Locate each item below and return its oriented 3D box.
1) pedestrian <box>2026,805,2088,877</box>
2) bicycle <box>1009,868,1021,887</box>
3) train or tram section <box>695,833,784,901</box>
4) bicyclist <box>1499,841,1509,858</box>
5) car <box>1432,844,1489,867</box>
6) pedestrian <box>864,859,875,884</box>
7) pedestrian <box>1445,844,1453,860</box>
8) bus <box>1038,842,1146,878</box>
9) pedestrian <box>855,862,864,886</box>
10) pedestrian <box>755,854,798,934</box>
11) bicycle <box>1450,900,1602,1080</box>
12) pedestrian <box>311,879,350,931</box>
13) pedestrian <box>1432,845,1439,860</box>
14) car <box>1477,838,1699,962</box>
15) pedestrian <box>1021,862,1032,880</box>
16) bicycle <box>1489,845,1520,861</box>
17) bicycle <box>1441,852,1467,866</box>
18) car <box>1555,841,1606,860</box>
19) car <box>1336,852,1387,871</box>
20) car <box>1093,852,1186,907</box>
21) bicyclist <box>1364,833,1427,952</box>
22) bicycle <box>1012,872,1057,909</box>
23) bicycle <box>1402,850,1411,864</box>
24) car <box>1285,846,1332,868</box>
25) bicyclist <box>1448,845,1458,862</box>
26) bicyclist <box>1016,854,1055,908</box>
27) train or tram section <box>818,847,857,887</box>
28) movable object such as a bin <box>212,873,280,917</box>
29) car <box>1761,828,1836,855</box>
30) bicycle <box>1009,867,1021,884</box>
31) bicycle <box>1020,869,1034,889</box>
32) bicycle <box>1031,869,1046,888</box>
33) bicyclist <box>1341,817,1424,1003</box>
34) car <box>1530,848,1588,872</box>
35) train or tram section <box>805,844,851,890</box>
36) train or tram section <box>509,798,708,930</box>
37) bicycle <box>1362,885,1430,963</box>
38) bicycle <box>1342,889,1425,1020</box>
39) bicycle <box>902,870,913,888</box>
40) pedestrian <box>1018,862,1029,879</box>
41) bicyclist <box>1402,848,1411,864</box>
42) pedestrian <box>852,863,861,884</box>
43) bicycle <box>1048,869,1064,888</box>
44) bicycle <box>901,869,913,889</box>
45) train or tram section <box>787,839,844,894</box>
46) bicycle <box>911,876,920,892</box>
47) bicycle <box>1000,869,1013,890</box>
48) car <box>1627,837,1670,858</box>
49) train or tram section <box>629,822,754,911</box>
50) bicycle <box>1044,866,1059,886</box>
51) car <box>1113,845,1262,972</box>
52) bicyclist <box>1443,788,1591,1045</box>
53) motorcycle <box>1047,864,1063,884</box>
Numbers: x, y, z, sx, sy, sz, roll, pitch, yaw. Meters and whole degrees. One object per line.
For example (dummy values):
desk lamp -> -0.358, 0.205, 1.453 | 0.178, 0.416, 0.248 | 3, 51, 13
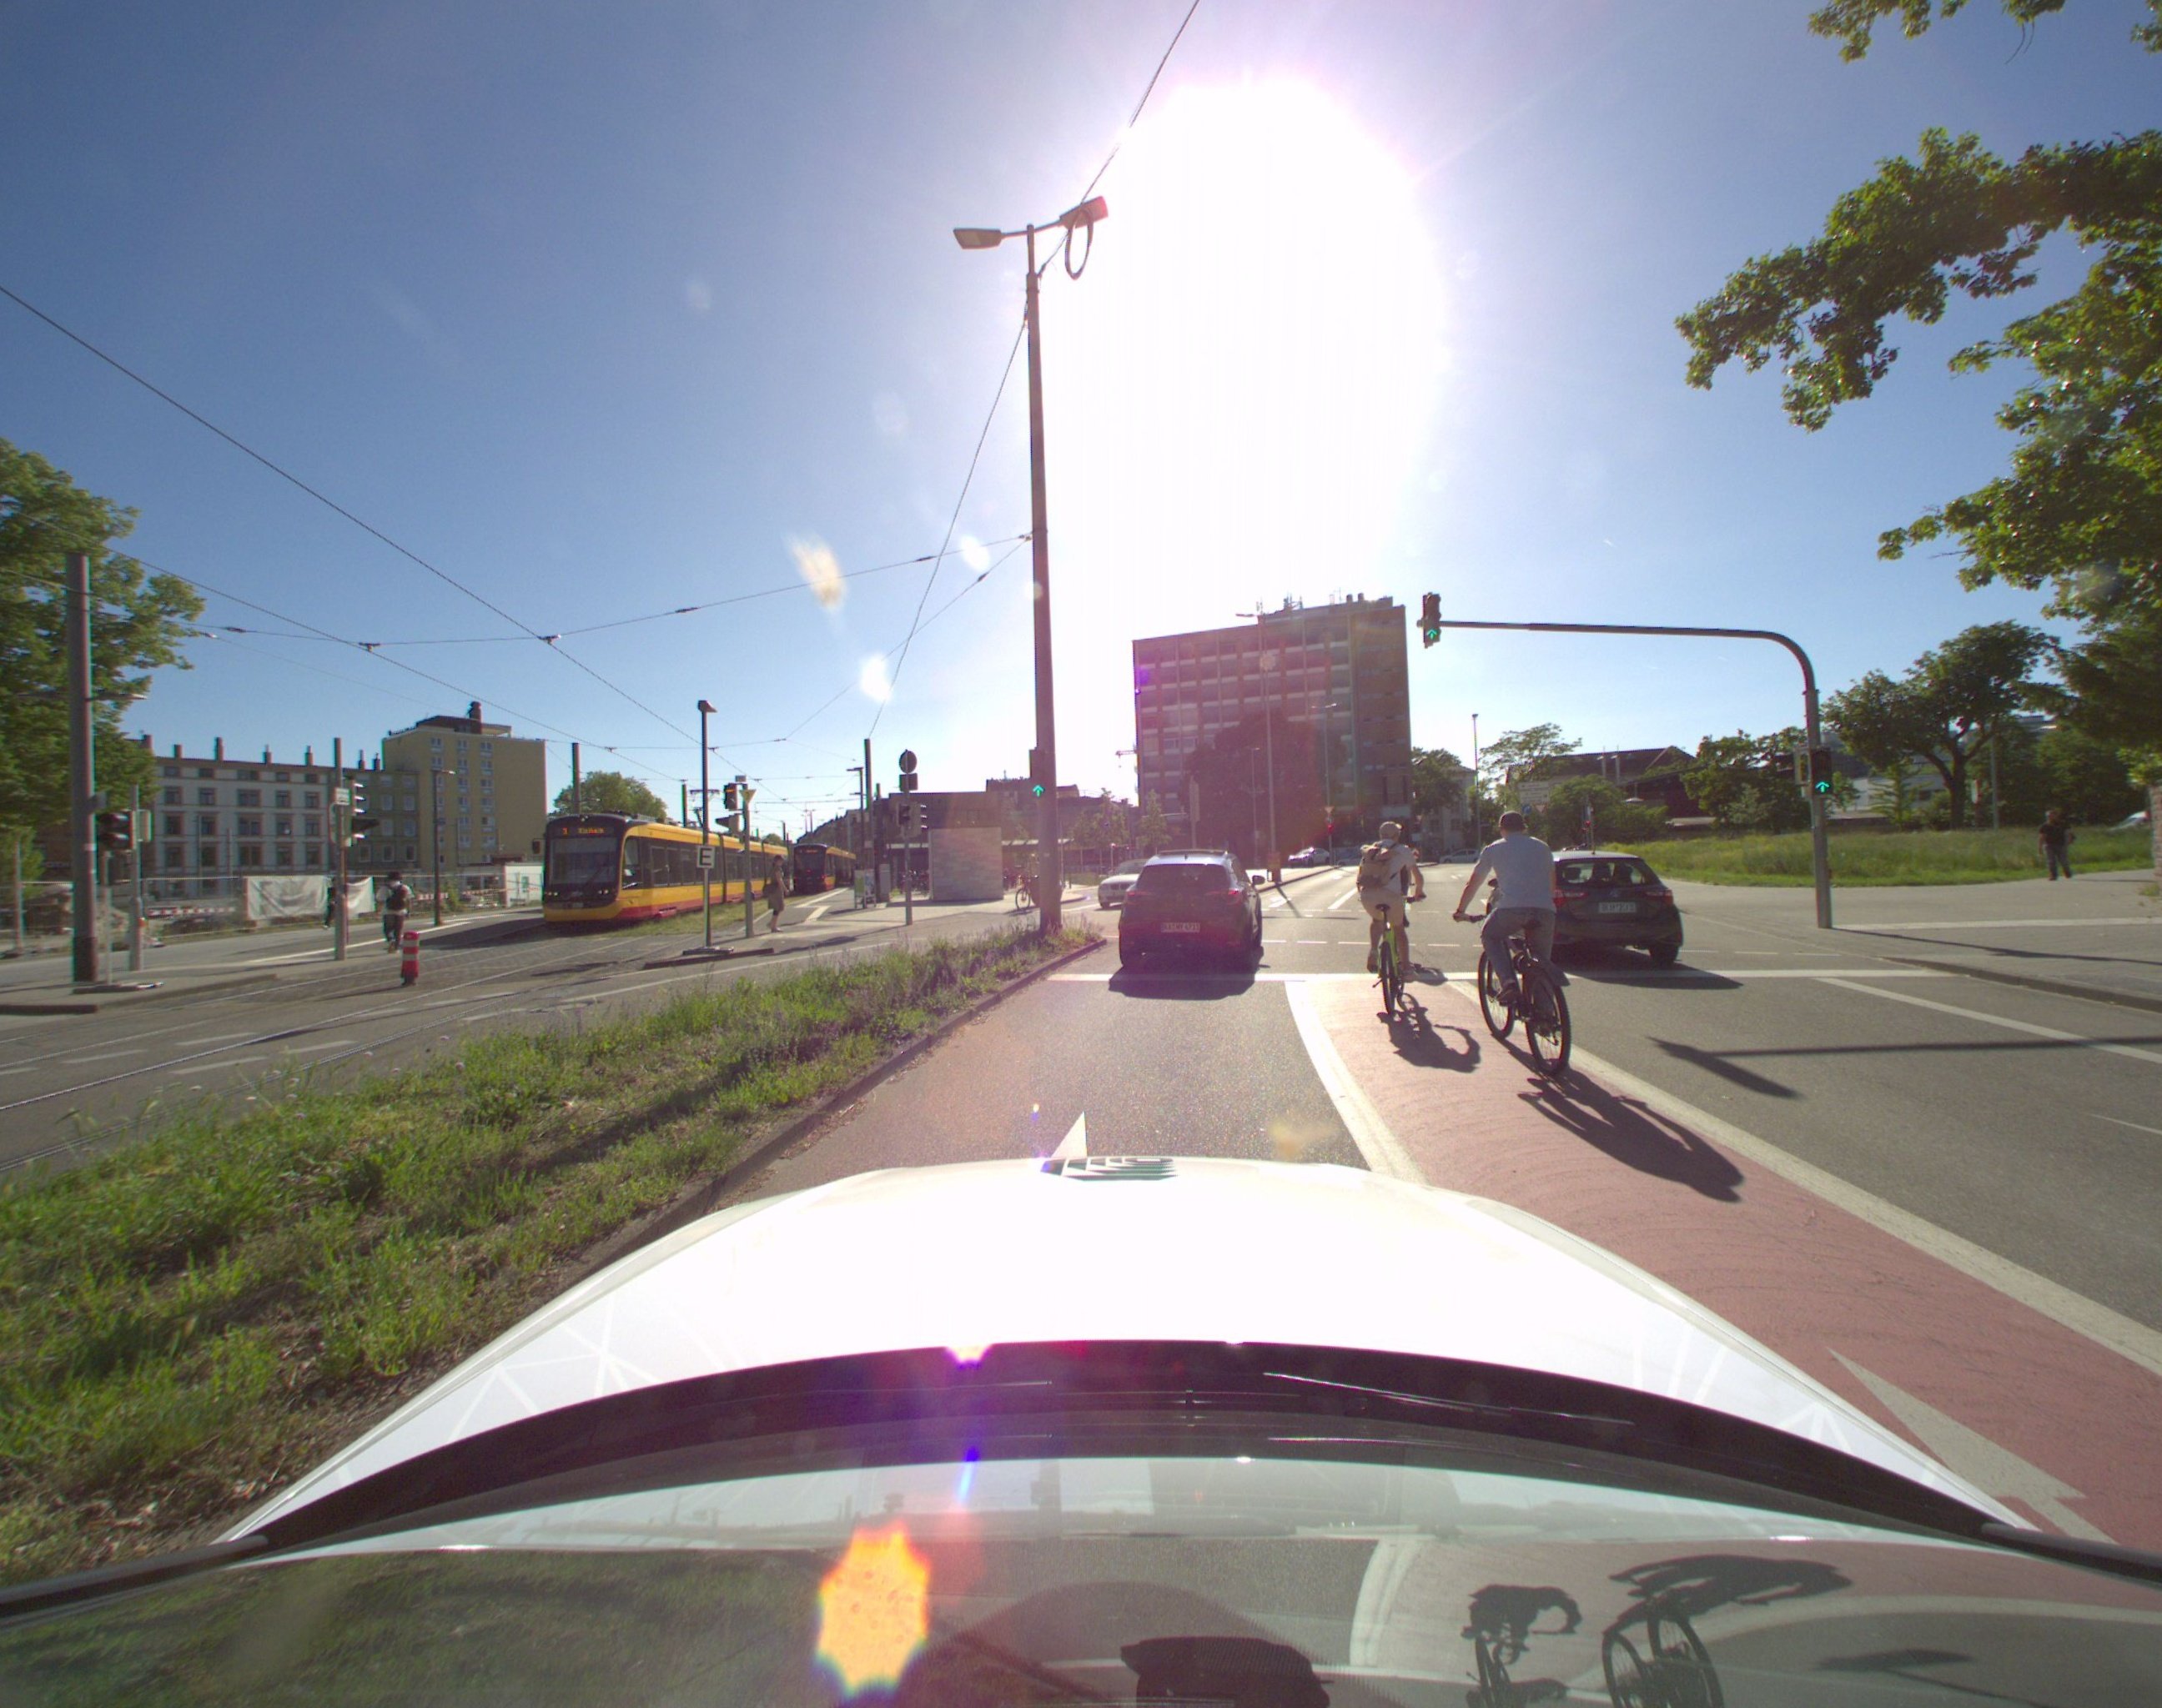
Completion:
pedestrian -> 25.639, -0.340, 21.397 | 1.052, 1.832, 0.753 | -2, -1, -28
bicycle -> -3.901, 1.362, 47.737 | 0.580, 1.088, 2.053 | -1, -2, -8
train or tram section -> -19.858, 0.777, 48.089 | 2.819, 3.508, 11.162 | -1, -1, -12
bicyclist -> 44.112, -0.476, 84.896 | 0.850, 1.692, 0.889 | -2, -2, 26
car -> 35.861, 0.152, 76.909 | 4.605, 2.014, 2.012 | -2, -2, 32
pedestrian -> -16.143, 1.313, 62.162 | 0.848, 1.883, 0.756 | 0, -2, -15
pedestrian -> 38.353, -0.227, 84.883 | 0.550, 1.670, 0.479 | -2, -2, 37
bus -> 0.966, 0.693, 85.821 | 12.286, 3.396, 2.900 | -2, -2, 41
pedestrian -> -17.242, 1.538, 63.336 | 0.604, 1.857, 0.791 | -1, -2, -10
pedestrian -> -7.414, 0.950, 19.829 | 0.902, 1.850, 0.759 | -2, 2, -21
bicycle -> 3.331, 0.942, 6.261 | 0.606, 1.077, 1.837 | -2, -1, 16
pedestrian -> -26.585, 1.779, 28.846 | 0.668, 1.767, 0.796 | -2, -1, -14
pedestrian -> 37.979, -0.158, 87.164 | 0.555, 1.670, 0.479 | -2, -2, 37
car -> 7.272, 0.610, 12.127 | 1.743, 1.542, 3.672 | -1, -1, 14
pedestrian -> -5.347, 1.624, 79.824 | 0.618, 1.741, 0.793 | -2, -2, 38
bicycle -> 44.129, -0.121, 84.881 | 2.776, 1.541, 0.889 | -2, -2, 26
bicycle -> 40.212, 0.535, 87.912 | 2.427, 1.370, 0.856 | -2, -2, 31
car -> 45.843, -0.307, 74.741 | 3.857, 1.586, 1.892 | -2, -2, 34
car -> 29.250, 0.795, 84.865 | 4.605, 1.900, 2.013 | -2, -2, 35
car -> 1.952, 0.769, 26.062 | 1.784, 1.393, 4.115 | -2, 2, 21
bicyclist -> 4.508, 0.529, 11.735 | 0.716, 1.626, 1.059 | -1, 0, 15
bicycle -> -1.466, 1.139, 25.911 | 0.767, 1.080, 2.044 | -3, -1, 15
bicycle -> 38.004, 0.378, 95.109 | 0.874, 1.541, 2.825 | -2, -2, 21
car -> 18.795, 0.262, 67.124 | 1.801, 1.568, 4.276 | -5, -1, 44
bicyclist -> 40.192, -0.048, 87.929 | 0.848, 1.846, 0.856 | -2, -2, 31
bicyclist -> -1.421, 0.832, 25.798 | 0.873, 1.644, 1.064 | -3, -1, 15
train or tram section -> -23.473, 1.222, 78.849 | 2.874, 3.508, 10.495 | -1, -1, -13
movable object such as a bin -> -54.572, 2.666, 53.210 | 3.950, 2.796, 1.844 | -2, -2, 25
car -> 59.177, -1.005, 67.256 | 4.305, 2.014, 2.012 | -2, -2, 32
bicycle -> -4.474, 1.468, 55.214 | 0.580, 1.088, 1.865 | -1, -2, -10
bicycle -> -2.807, 1.293, 42.073 | 0.580, 0.961, 2.053 | -1, -2, -8
bicycle -> -2.194, 1.285, 42.157 | 0.580, 0.961, 2.053 | -1, -2, -8
bicyclist -> 3.038, 0.530, 8.207 | 0.658, 1.747, 1.011 | -3, 0, 21
car -> 42.557, 0.561, 72.534 | 4.330, 2.014, 2.012 | -2, -2, 32
train or tram section -> -21.145, 1.064, 68.531 | 2.874, 3.508, 10.495 | -1, -1, -13
train or tram section -> -15.290, 0.330, 27.489 | 2.821, 3.508, 10.429 | -2, -1, -14
bicycle -> 4.543, 0.976, 11.850 | 0.717, 0.960, 1.891 | 0, 0, 15
bicycle -> 3.048, 0.943, 8.194 | 0.657, 1.047, 1.900 | -3, 0, 21
bicycle -> -10.902, 1.572, 51.293 | 0.566, 1.093, 2.022 | -1, -2, -10
pedestrian -> -5.762, 1.670, 81.483 | 0.647, 1.741, 0.793 | -2, -2, 38
bicyclist -> 38.004, 0.203, 95.107 | 0.874, 1.797, 1.167 | -2, -2, 21
pedestrian -> -19.213, 1.671, 69.672 | 0.634, 1.857, 0.698 | 0, -2, -18
bicycle -> -1.307, 1.277, 42.395 | 0.580, 0.961, 2.053 | -1, -2, -8
bicycle -> -9.594, 1.367, 44.980 | 0.566, 1.093, 2.022 | -1, -2, -10
train or tram section -> -18.781, 0.921, 58.261 | 2.874, 3.508, 10.495 | -1, -1, -13
bicycle -> -9.496, 1.713, 46.694 | 0.422, 0.938, 1.299 | 0, -1, -14
bicycle -> -3.829, 1.300, 41.702 | 0.580, 1.058, 1.811 | -1, -2, -8
car -> 53.657, -0.586, 76.994 | 3.874, 1.935, 1.889 | 0, -2, -31
train or tram section -> -17.574, 0.566, 37.622 | 2.819, 3.508, 10.565 | -1, -1, -12
bicycle -> -1.623, 1.201, 44.435 | 0.580, 1.052, 1.967 | -1, -2, -8
car -> 1.739, 0.698, 12.202 | 1.810, 1.600, 3.672 | -1, 0, 13
bicyclist -> 3.269, 0.442, 6.208 | 0.744, 1.776, 1.018 | -2, -1, 16
motorcycle -> -1.606, 1.242, 50.181 | 0.552, 1.177, 1.910 | 0, -2, -16
